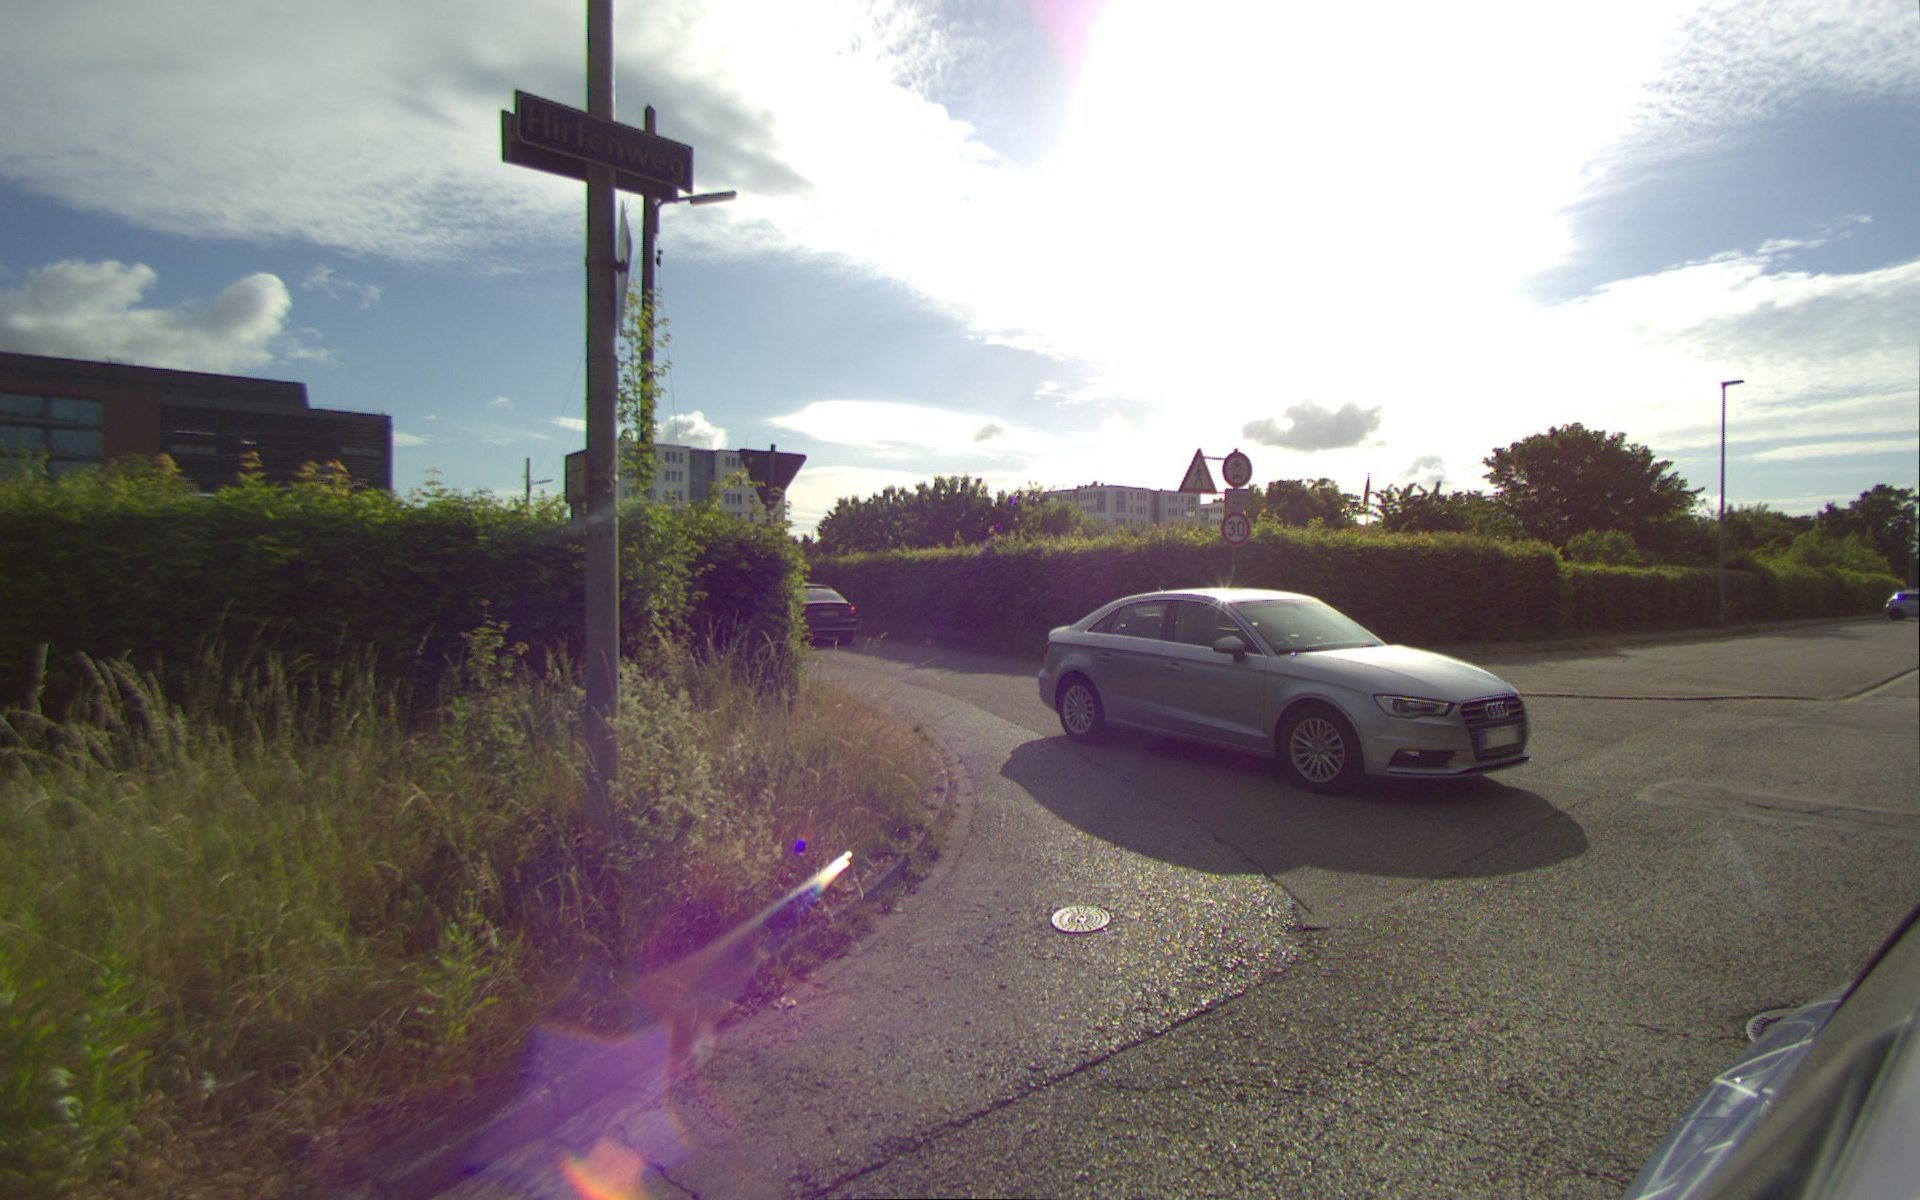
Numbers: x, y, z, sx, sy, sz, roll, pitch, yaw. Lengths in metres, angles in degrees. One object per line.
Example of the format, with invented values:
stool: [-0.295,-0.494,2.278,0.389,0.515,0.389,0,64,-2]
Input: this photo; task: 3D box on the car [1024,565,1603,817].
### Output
car: [2.599,0.479,8.533,1.895,1.460,4.380,-3,3,-32]

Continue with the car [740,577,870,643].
car: [-3.984,0.201,25.409,1.933,1.452,4.342,-2,1,-27]

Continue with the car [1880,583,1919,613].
car: [49.799,-0.074,51.765,1.663,1.509,3.863,0,2,-42]

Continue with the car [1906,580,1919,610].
car: [57.970,-0.309,58.554,1.732,1.721,4.596,-2,1,-40]
